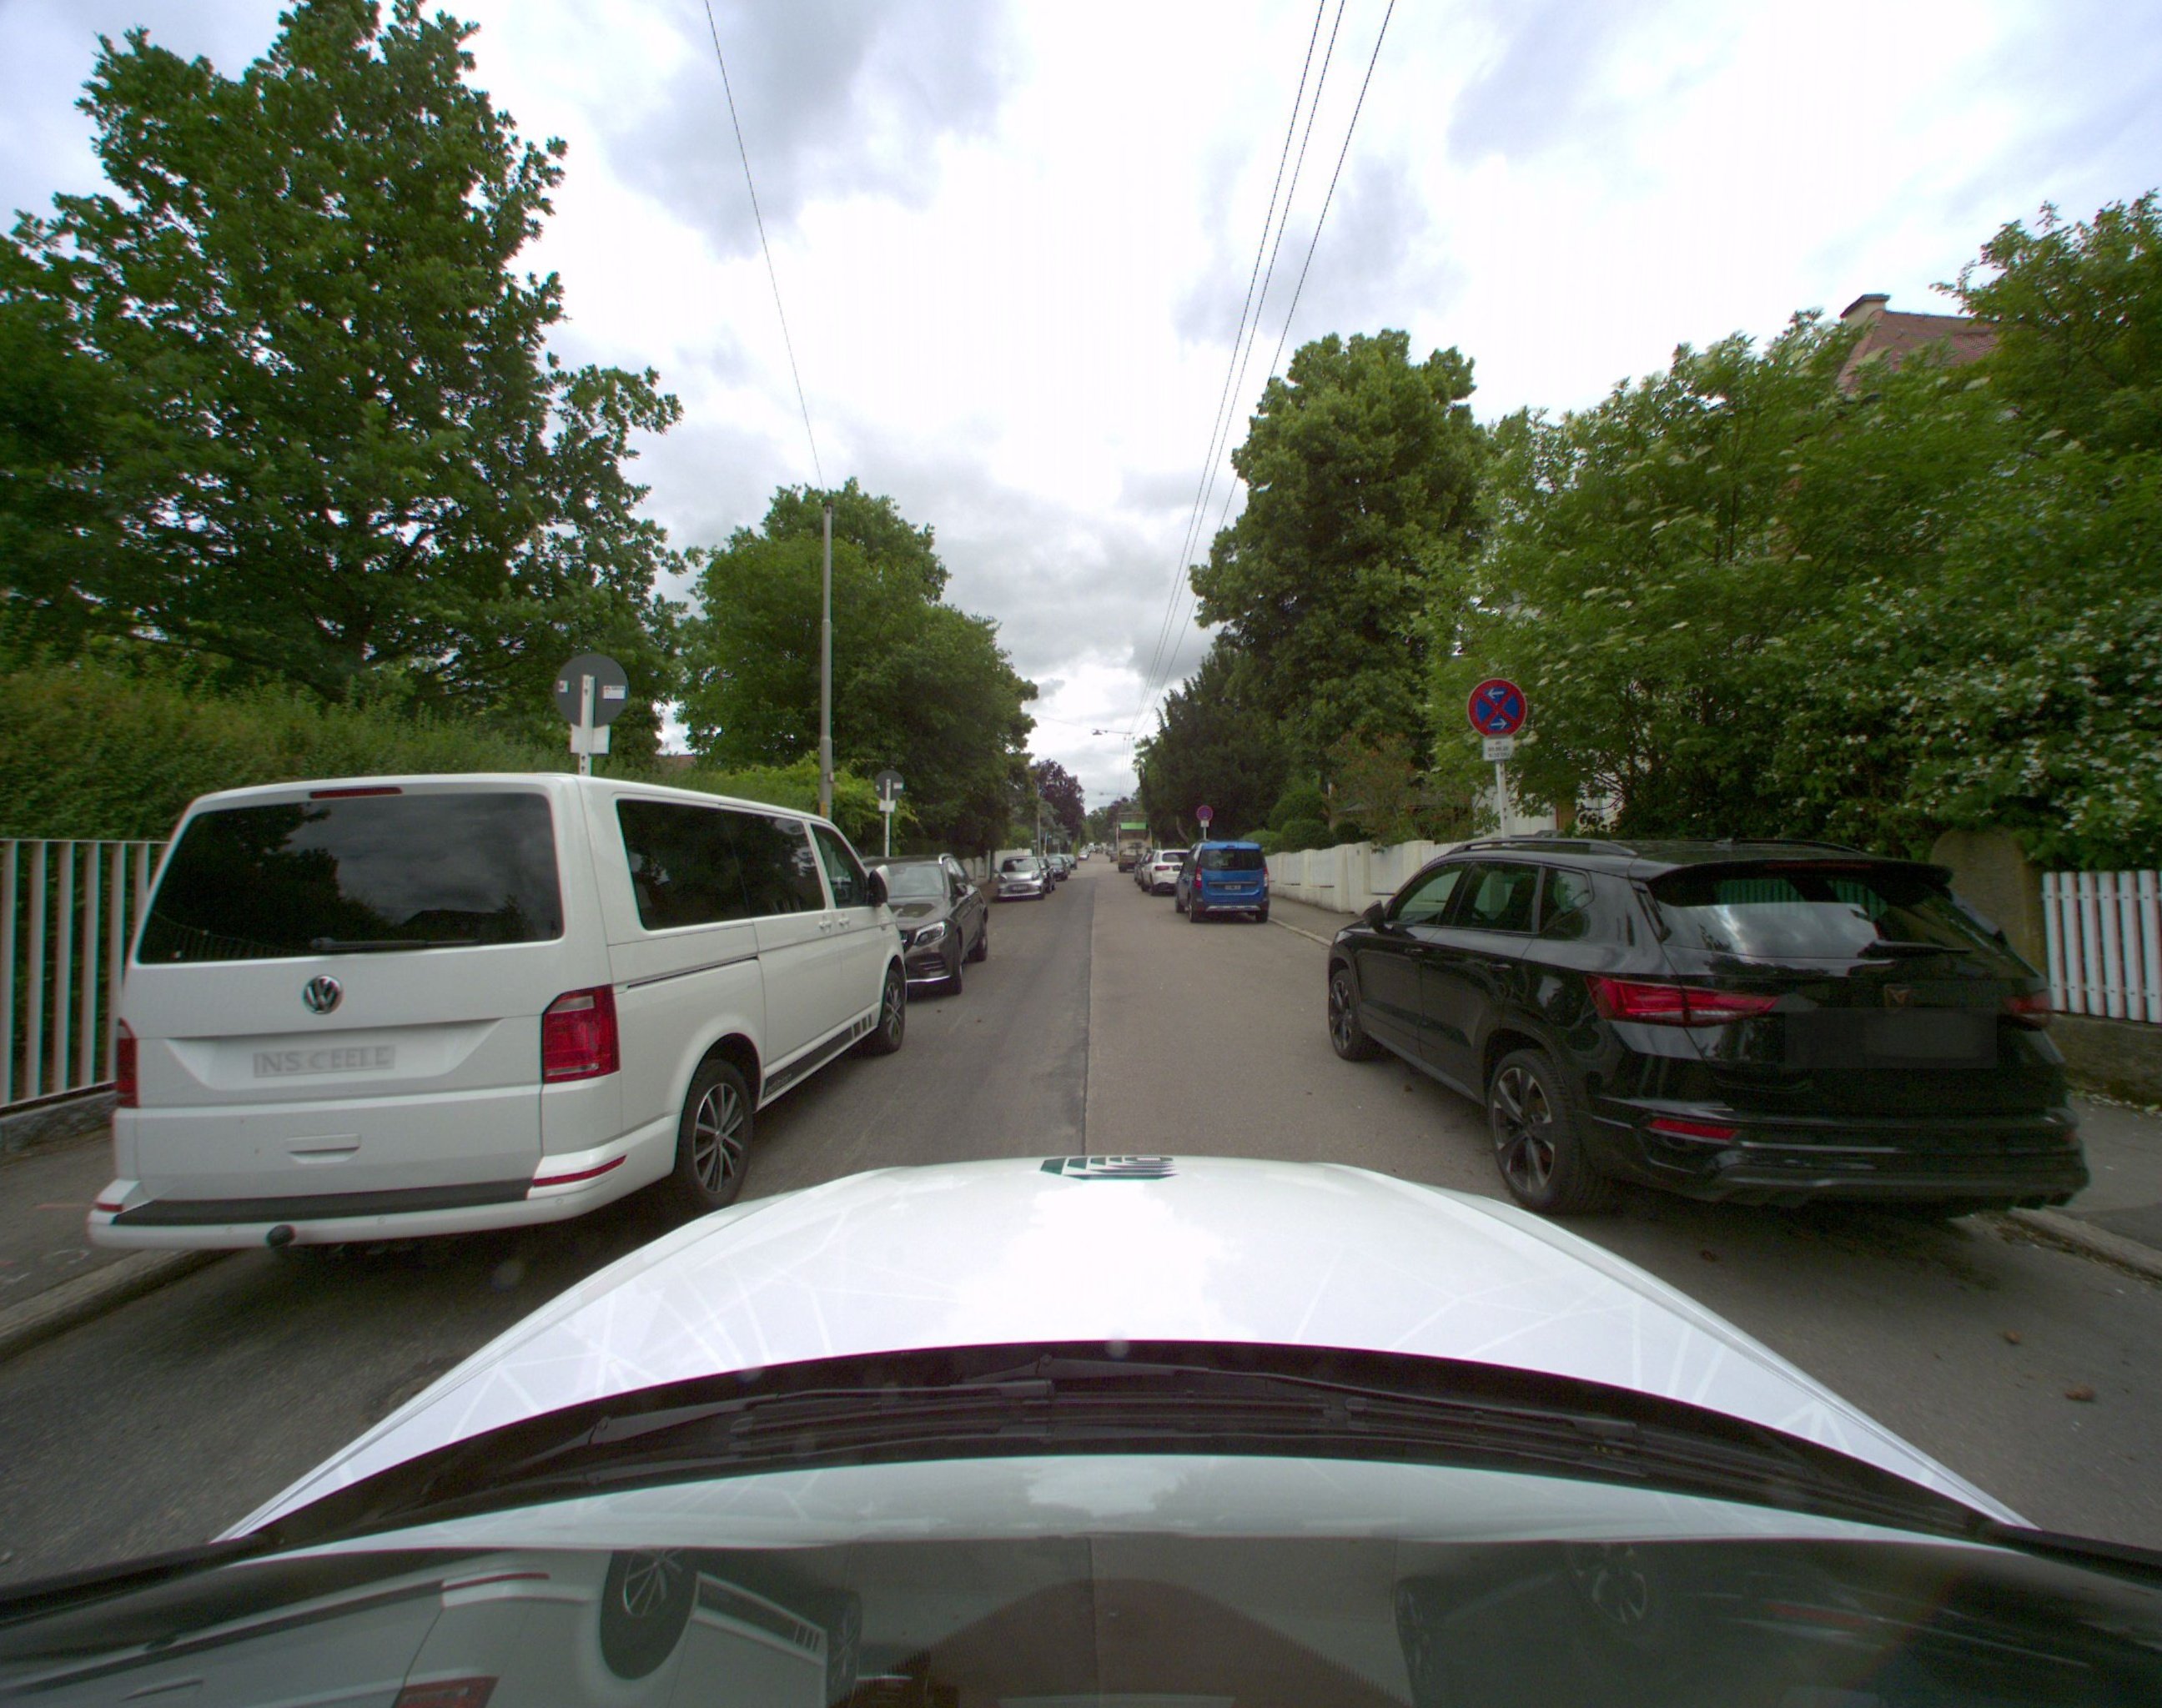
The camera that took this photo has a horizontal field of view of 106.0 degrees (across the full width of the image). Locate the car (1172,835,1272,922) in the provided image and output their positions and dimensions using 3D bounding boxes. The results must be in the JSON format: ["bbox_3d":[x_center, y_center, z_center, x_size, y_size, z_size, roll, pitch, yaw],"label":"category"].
[{"bbox_3d":[3.207,0.511,19.298,1.677,1.829,4.157,1,0,0],"label":"car"}]

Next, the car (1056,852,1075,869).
[{"bbox_3d":[-1.383,0.590,73.750,1.632,1.395,3.988,-3,0,0],"label":"car"}]

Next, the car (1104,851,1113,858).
[{"bbox_3d":[6.215,0.042,182.971,1.782,1.529,3.736,-1,0,3],"label":"car"}]

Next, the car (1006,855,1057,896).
[{"bbox_3d":[-1.979,0.831,33.721,1.649,1.481,3.889,-4,0,2],"label":"car"}]

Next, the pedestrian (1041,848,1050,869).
[{"bbox_3d":[-3.506,0.437,80.157,0.850,2.014,0.700,1,-1,-4],"label":"pedestrian"}]

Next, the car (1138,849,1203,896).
[{"bbox_3d":[3.229,0.628,30.141,1.753,1.606,4.571,0,0,-2],"label":"car"}]

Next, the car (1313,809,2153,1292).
[{"bbox_3d":[2.787,0.686,4.795,1.744,1.608,4.076,1,-1,1],"label":"car"}]

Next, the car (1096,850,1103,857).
[{"bbox_3d":[4.639,-0.233,202.493,1.628,1.701,3.494,-1,0,0],"label":"car"}]

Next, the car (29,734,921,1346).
[{"bbox_3d":[-2.479,0.640,5.010,1.848,1.913,4.620,-4,-1,1],"label":"car"}]

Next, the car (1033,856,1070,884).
[{"bbox_3d":[-1.662,0.861,47.030,1.634,1.422,4.553,-4,0,3],"label":"car"}]

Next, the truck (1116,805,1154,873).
[{"bbox_3d":[3.946,-1.052,60.713,2.515,4.748,7.190,0,0,2],"label":"truck"}]

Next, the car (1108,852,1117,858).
[{"bbox_3d":[6.682,0.235,174.142,1.804,1.335,3.632,0,1,0],"label":"car"}]

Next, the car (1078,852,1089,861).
[{"bbox_3d":[0.422,0.450,150.543,1.704,1.586,4.004,-1,0,4],"label":"car"}]

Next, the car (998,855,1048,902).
[{"bbox_3d":[-2.054,0.836,29.397,1.618,1.533,2.960,-3,0,-2],"label":"car"}]

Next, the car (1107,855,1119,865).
[{"bbox_3d":[5.119,0.927,130.512,1.773,1.489,3.999,-1,0,0],"label":"car"}]

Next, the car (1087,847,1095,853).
[{"bbox_3d":[2.746,-1.042,221.128,1.720,1.407,3.809,-1,0,5],"label":"car"}]

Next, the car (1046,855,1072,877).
[{"bbox_3d":[-1.550,0.827,58.624,1.590,1.433,4.002,-3,0,2],"label":"car"}]

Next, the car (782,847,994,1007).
[{"bbox_3d":[-2.279,0.778,10.825,1.786,1.623,4.341,-3,0,-1],"label":"car"}]

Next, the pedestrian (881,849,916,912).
[{"bbox_3d":[-4.631,0.658,20.723,0.606,1.546,0.798,4,-1,0],"label":"pedestrian"}]

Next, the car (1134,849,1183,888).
[{"bbox_3d":[3.390,0.616,36.297,1.693,1.570,4.307,-2,0,-1],"label":"car"}]
